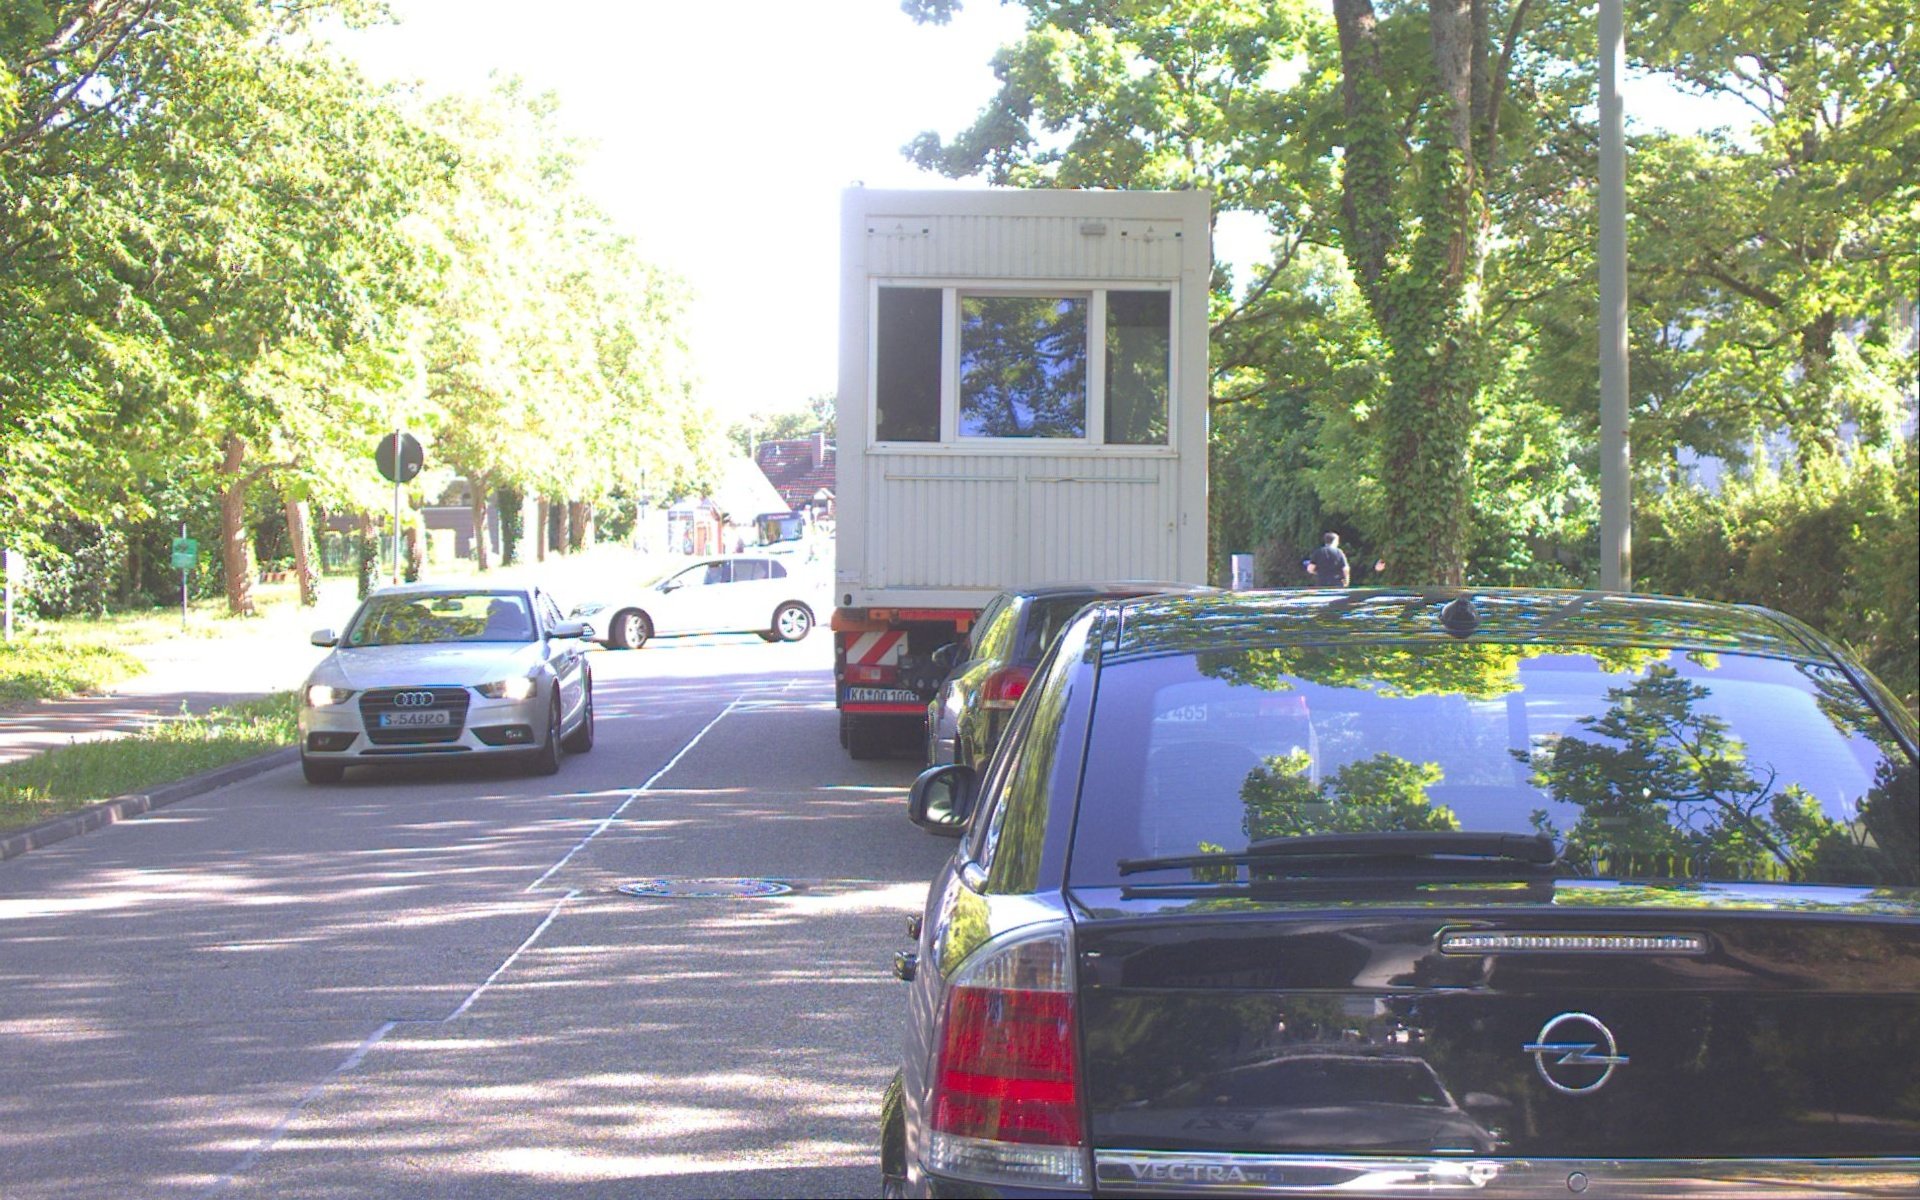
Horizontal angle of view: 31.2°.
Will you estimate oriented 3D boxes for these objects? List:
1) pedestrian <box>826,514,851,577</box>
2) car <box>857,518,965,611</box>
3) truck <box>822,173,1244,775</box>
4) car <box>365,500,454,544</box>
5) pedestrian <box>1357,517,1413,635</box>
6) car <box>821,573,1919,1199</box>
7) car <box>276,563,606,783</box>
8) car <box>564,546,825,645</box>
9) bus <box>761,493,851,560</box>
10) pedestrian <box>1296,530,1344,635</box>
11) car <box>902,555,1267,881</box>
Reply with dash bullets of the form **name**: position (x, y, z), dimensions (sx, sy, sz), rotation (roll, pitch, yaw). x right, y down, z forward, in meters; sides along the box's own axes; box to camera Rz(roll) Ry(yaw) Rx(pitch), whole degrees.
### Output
- **pedestrian**: position (-4.126, -1.850, 116.379), dimensions (0.752, 2.106, 0.799), rotation (1, 1, 2)
- **car**: position (-1.029, -0.734, 70.109), dimensions (1.946, 1.836, 4.001), rotation (0, 1, -4)
- **truck**: position (0.337, -0.943, 28.157), dimensions (2.772, 3.982, 10.349), rotation (1, 1, -2)
- **car**: position (-27.468, -3.894, 171.620), dimensions (3.987, 2.007, 2.000), rotation (-2, 1, 1)
- **pedestrian**: position (6.622, -0.382, 53.547), dimensions (0.698, 1.806, 0.700), rotation (-2, 1, -4)
- **car**: position (0.738, 0.697, 5.994), dimensions (1.748, 1.475, 4.030), rotation (0, 0, 1)
- **car**: position (-3.793, 0.482, 25.771), dimensions (1.786, 1.412, 4.104), rotation (-2, 1, 0)
- **car**: position (-4.310, -0.085, 55.629), dimensions (3.945, 1.415, 1.812), rotation (-3, 1, -12)
- **bus**: position (-8.134, -3.917, 182.973), dimensions (4.065, 3.337, 9.801), rotation (-2, 1, 1)
- **pedestrian**: position (5.607, -0.273, 53.519), dimensions (0.598, 1.605, 0.600), rotation (-2, 1, -4)
- **car**: position (0.614, 0.524, 17.913), dimensions (1.640, 1.415, 4.000), rotation (-2, 1, 1)
